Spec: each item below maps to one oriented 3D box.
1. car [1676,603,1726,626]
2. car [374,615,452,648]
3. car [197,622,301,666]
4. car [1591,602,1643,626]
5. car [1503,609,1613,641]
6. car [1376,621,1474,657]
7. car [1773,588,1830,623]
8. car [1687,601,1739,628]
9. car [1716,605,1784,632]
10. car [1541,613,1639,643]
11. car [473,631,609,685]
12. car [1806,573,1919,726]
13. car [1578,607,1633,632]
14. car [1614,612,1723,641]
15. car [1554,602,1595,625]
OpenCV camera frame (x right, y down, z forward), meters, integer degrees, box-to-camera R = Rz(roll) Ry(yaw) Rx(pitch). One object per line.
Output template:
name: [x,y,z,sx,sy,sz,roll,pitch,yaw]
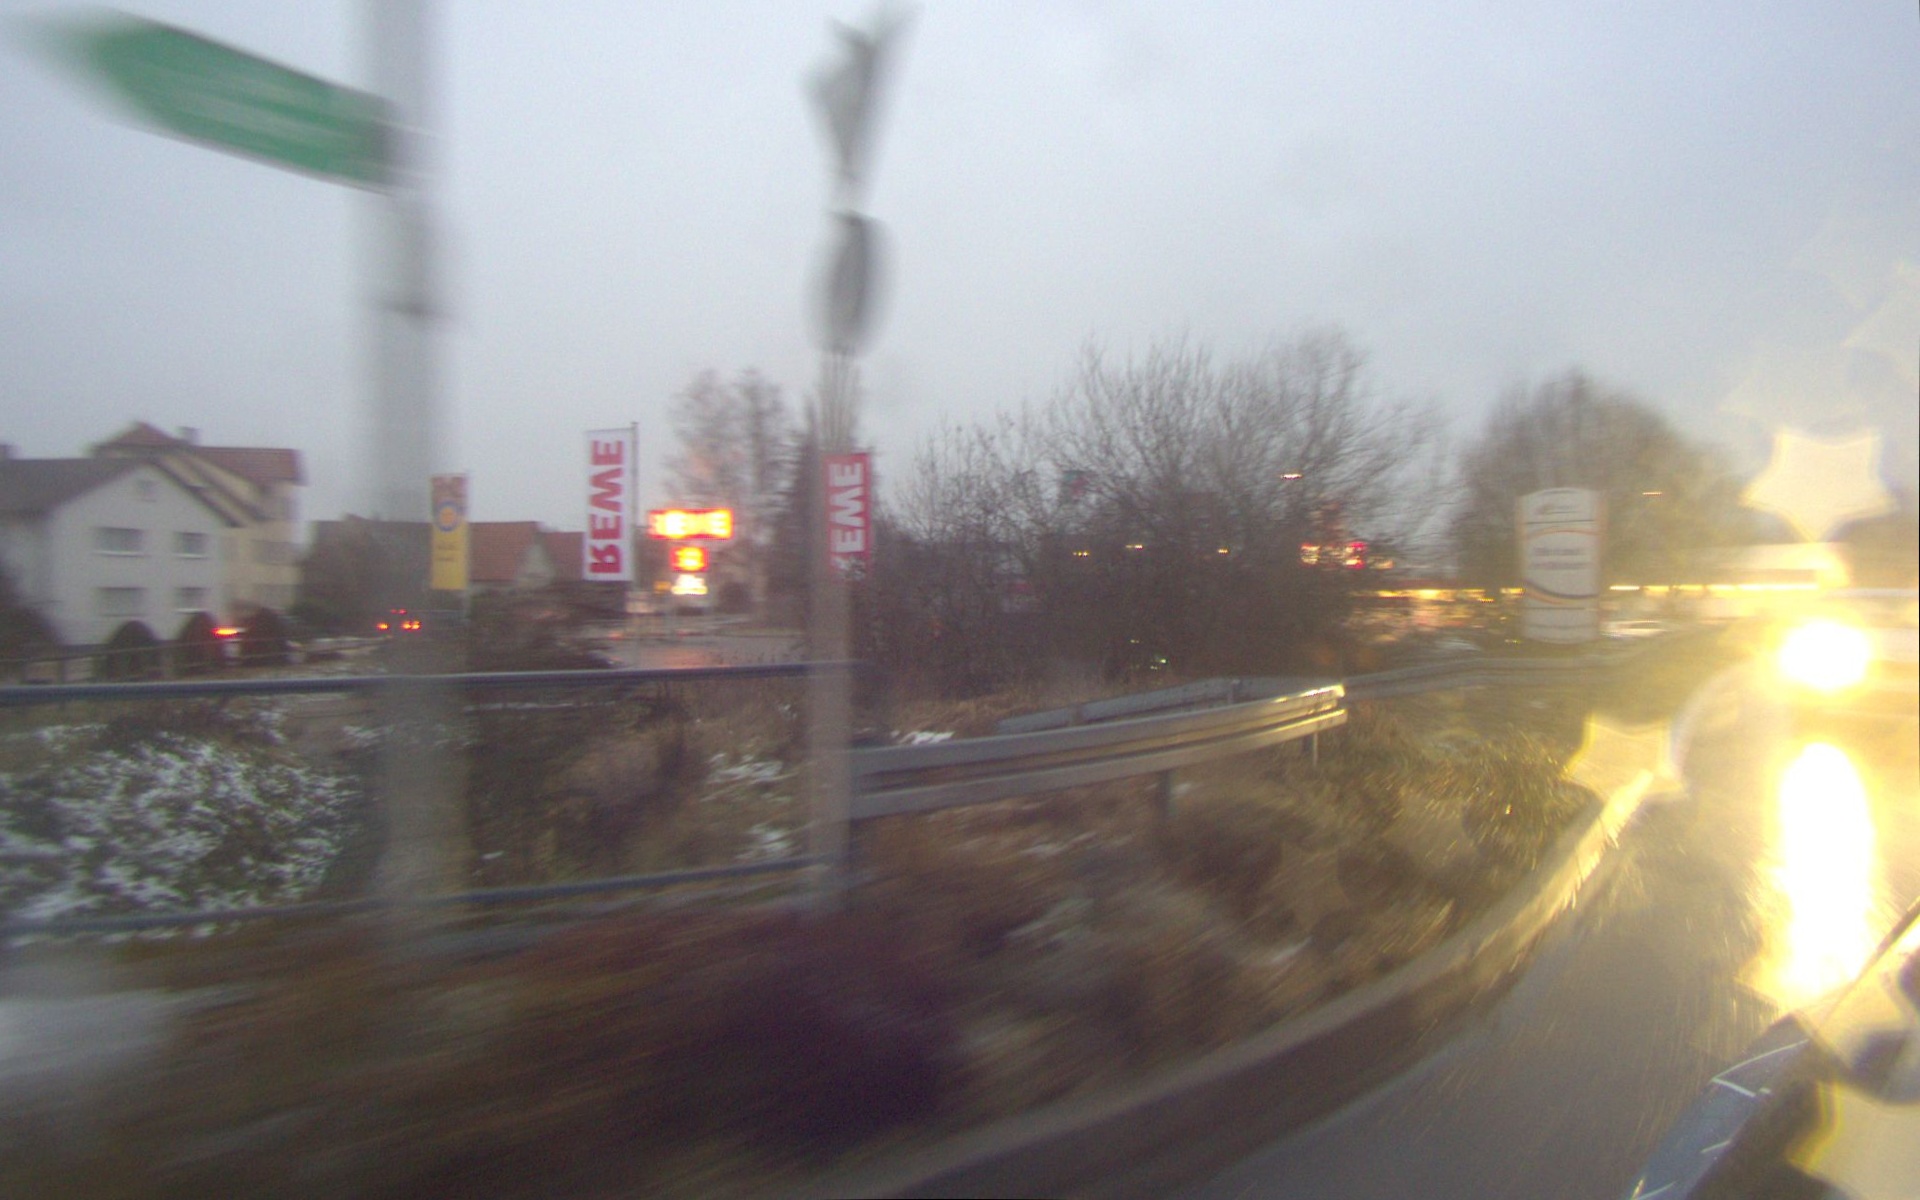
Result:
car: [52.947,1.030,72.404,1.694,1.536,3.246,-1,0,13]
car: [-28.269,1.616,52.446,1.883,1.511,3.708,-3,0,2]
car: [-27.479,1.653,39.257,1.725,1.511,3.858,-3,0,-9]
car: [48.458,1.011,74.711,1.773,1.615,3.968,0,1,11]
car: [30.391,1.262,51.555,4.533,1.473,1.918,0,1,22]
car: [21.462,1.777,46.840,3.949,1.457,1.786,0,1,19]
car: [65.274,0.398,78.625,2.259,2.470,5.192,1,2,27]
car: [58.285,1.066,78.429,1.865,1.983,4.925,-1,0,21]
car: [47.598,1.117,60.978,3.733,1.446,1.777,-1,2,-26]
car: [33.255,1.442,53.529,4.133,1.414,1.890,1,2,23]
car: [-13.222,1.790,32.002,3.870,1.420,1.614,-2,0,-25]
car: [11.446,0.481,12.159,1.803,1.479,4.184,-2,1,42]
car: [43.127,1.277,67.738,1.800,1.660,4.448,0,0,15]
car: [39.448,1.446,56.488,4.656,1.414,1.888,1,2,26]
car: [44.461,0.975,73.328,1.705,1.520,4.001,0,1,19]
